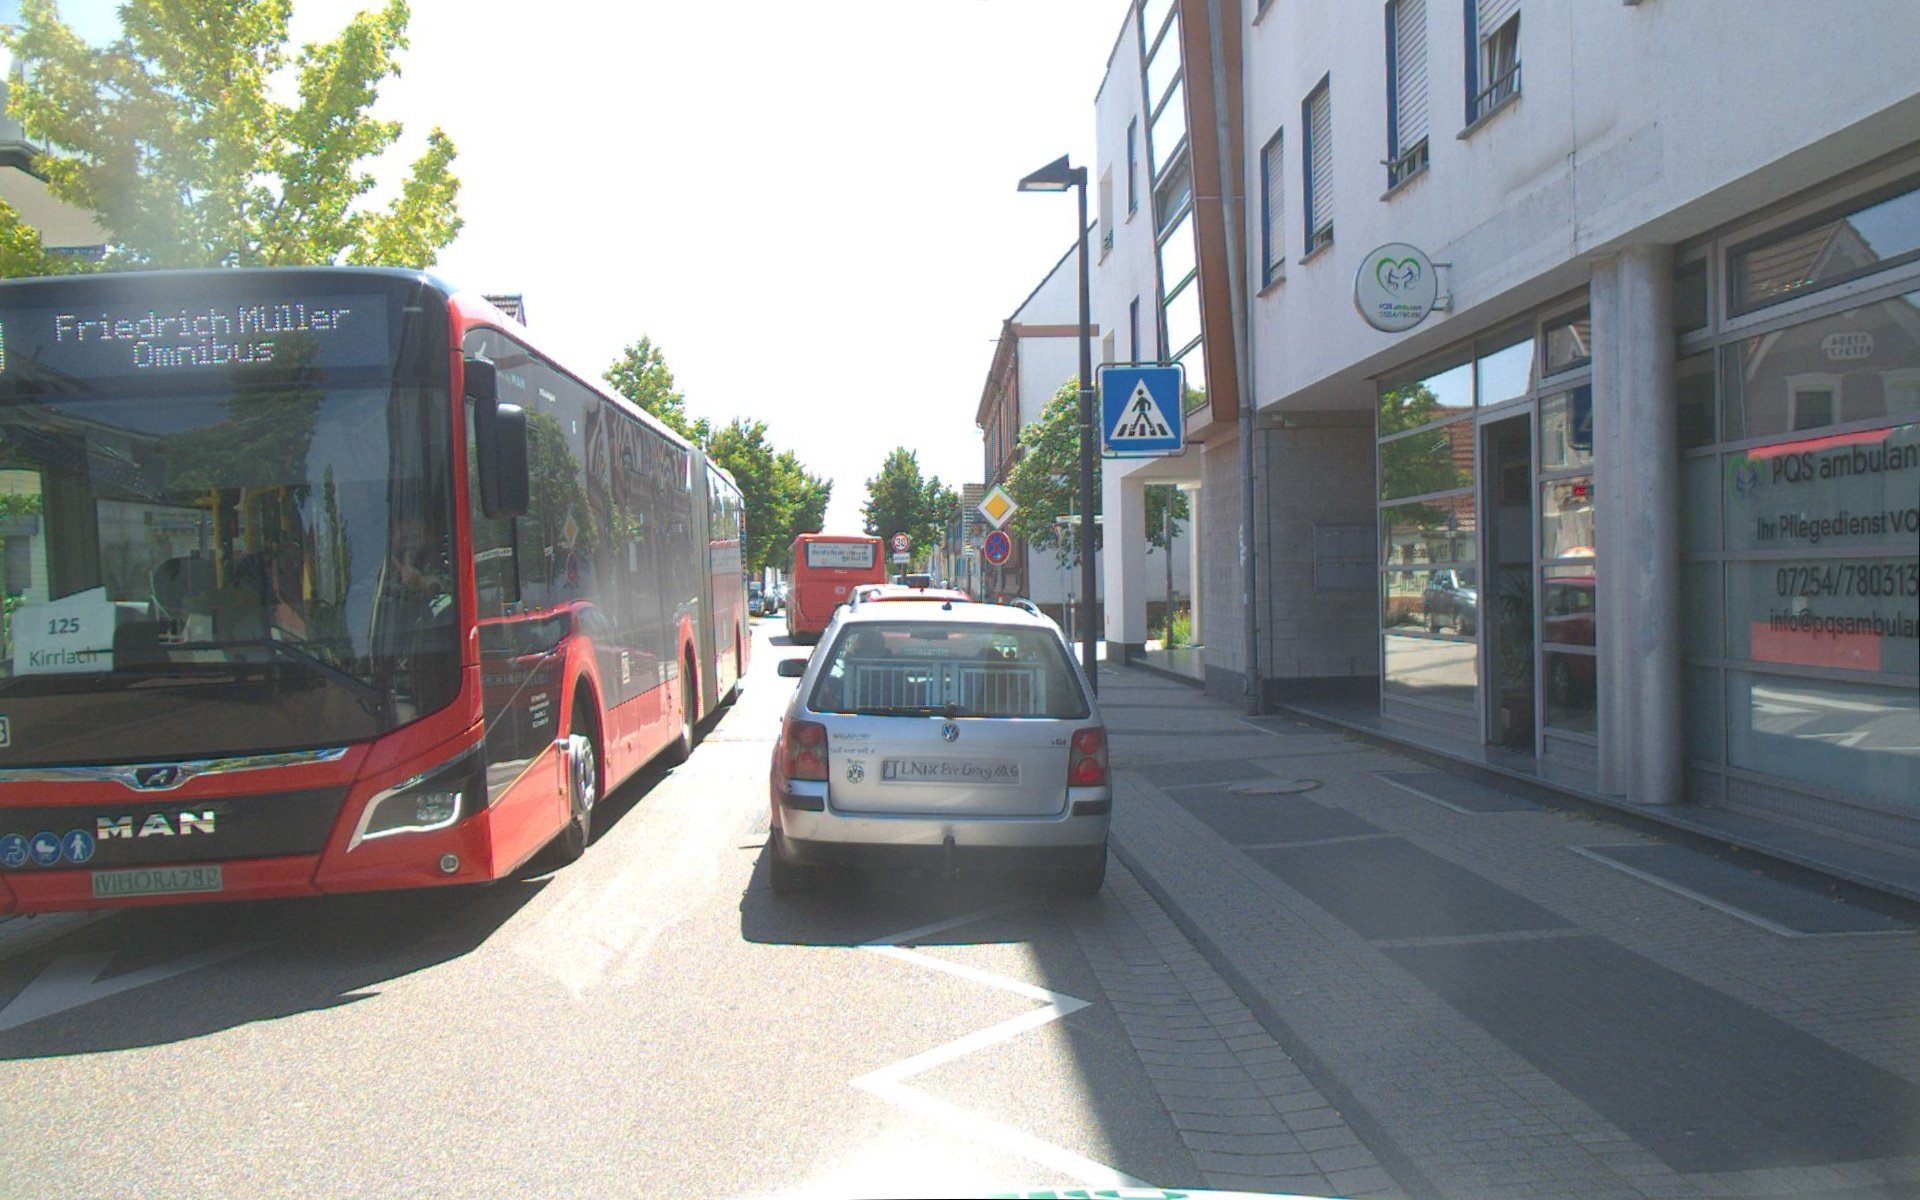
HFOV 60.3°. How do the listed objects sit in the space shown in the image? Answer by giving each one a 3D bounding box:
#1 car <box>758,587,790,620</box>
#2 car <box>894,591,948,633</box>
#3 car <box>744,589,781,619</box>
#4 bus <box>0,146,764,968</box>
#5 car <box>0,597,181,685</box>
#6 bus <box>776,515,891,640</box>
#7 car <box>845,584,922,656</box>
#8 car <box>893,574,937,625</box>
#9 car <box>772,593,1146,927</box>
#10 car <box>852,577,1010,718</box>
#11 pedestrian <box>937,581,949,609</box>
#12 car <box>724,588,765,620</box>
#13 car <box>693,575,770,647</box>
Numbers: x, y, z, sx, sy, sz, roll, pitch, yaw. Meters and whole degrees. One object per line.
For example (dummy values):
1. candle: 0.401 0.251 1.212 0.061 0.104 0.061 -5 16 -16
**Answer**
1. car: -11.889 0.202 105.830 1.775 2.030 3.998 -1 0 -3
2. car: -1.361 0.389 56.018 1.685 1.332 3.623 -1 0 -3
3. car: -11.149 0.194 93.354 1.775 1.586 3.998 -1 0 -3
4. bus: -3.721 -0.231 15.341 2.616 3.178 17.795 -2 0 -3
5. car: -17.733 0.798 32.896 3.858 1.572 1.510 -2 2 -20
6. bus: -4.101 -0.630 50.923 2.689 3.356 12.681 -1 0 -8
7. car: -1.622 0.398 35.440 1.561 1.455 3.678 0 0 -2
8. car: -1.969 -0.032 71.301 1.752 2.118 3.623 -1 0 -3
9. car: -0.089 0.703 9.150 1.643 1.455 3.677 1 0 -3
10. car: -0.400 0.495 19.549 1.643 1.455 3.677 -2 0 -3
11. pedestrian: -1.042 -0.329 101.095 0.594 1.696 0.789 -1 0 -4
12. car: -11.250 0.201 86.607 1.775 1.586 3.998 -1 0 -3
13. car: -5.906 0.251 43.173 1.642 1.746 4.229 -1 0 -4
